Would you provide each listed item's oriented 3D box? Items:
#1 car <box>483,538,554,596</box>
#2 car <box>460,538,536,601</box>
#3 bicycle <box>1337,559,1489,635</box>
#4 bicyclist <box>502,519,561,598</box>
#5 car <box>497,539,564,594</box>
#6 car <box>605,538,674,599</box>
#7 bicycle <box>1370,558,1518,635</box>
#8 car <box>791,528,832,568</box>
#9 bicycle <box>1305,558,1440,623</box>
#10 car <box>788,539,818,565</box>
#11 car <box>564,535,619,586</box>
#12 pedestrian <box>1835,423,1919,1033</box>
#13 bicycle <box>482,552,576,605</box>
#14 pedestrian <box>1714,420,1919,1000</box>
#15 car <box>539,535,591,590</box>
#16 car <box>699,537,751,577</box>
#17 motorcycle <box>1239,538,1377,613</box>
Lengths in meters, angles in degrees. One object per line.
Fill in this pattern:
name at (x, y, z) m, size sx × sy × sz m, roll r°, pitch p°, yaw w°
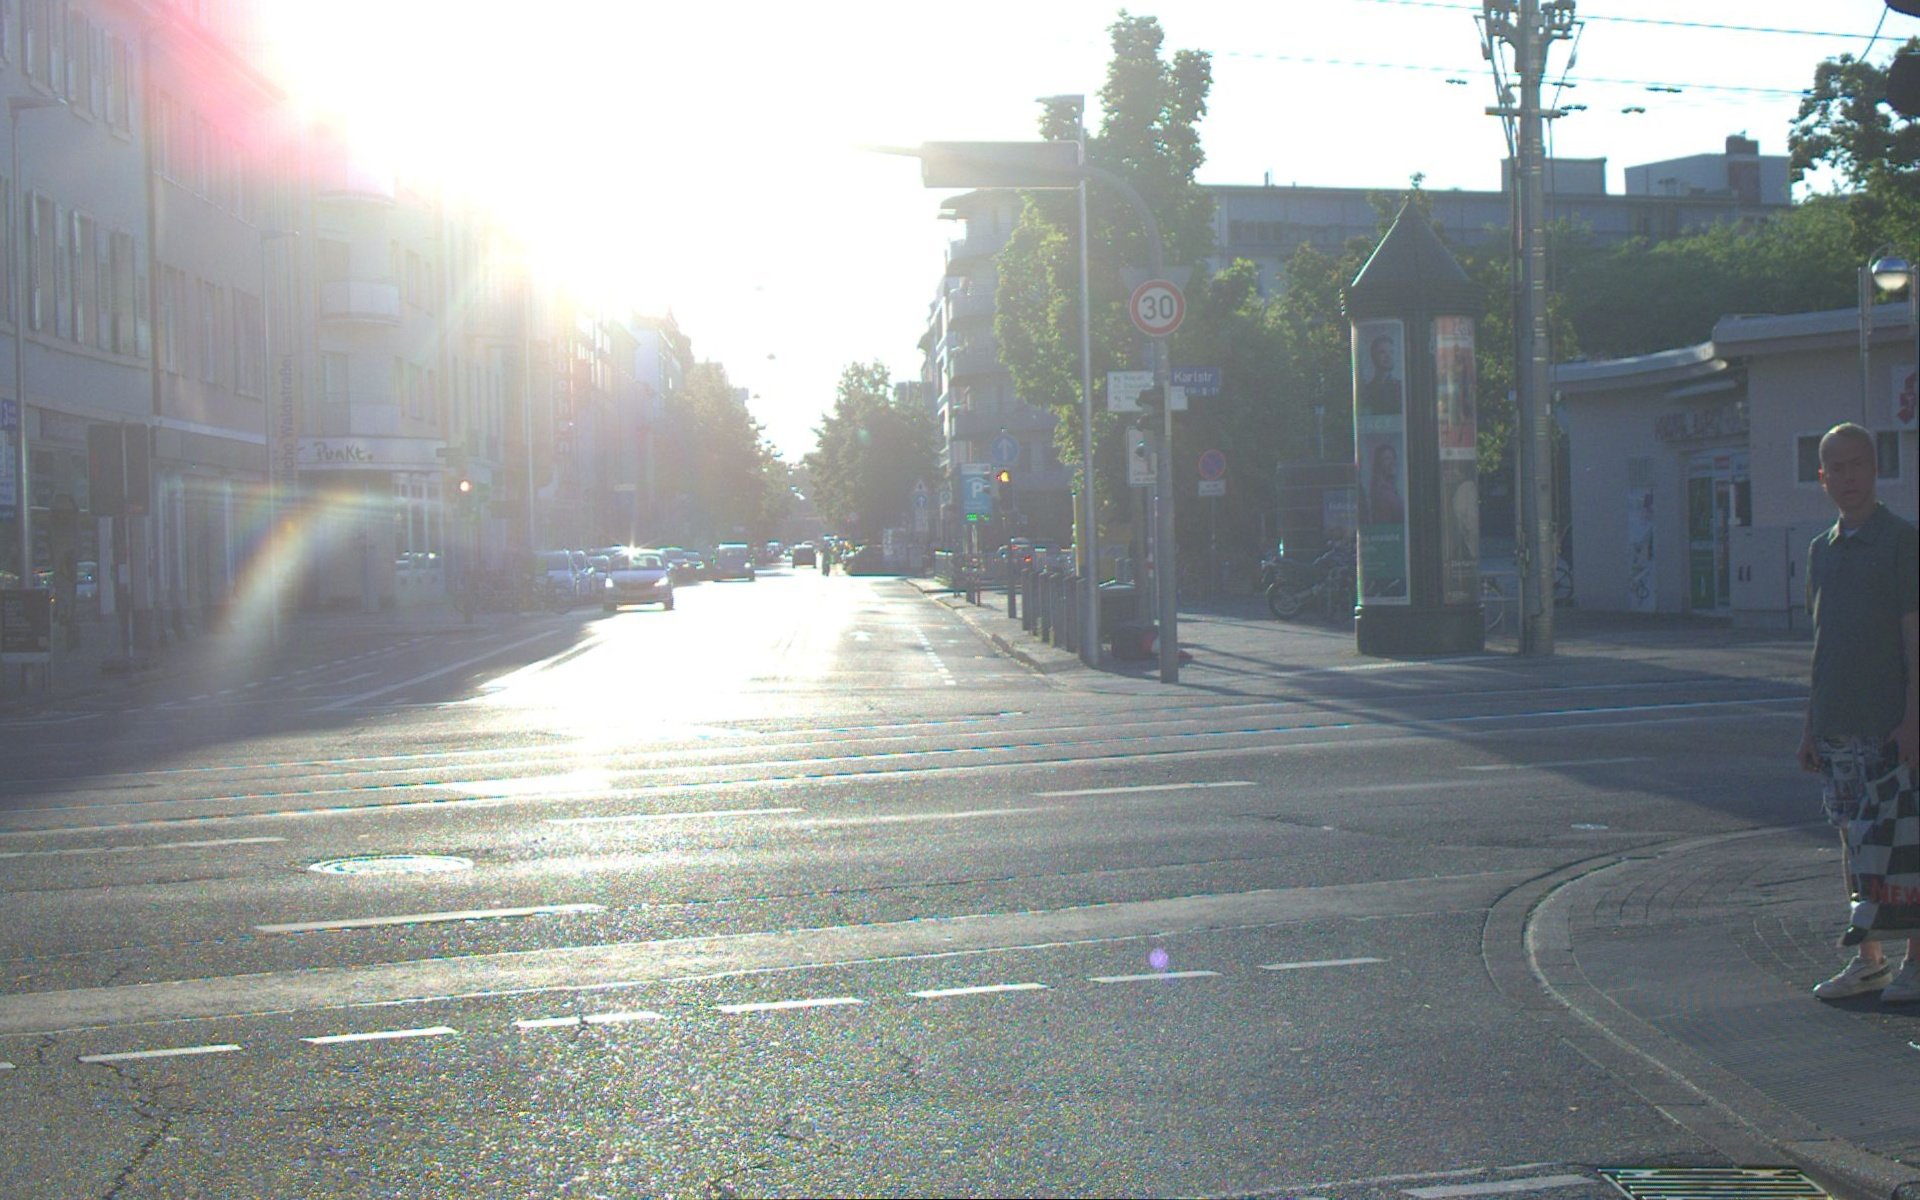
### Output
car at (-11.434, -0.840, 89.212) m, size 1.545 × 1.464 × 3.352 m, roll -1°, pitch 0°, yaw -3°
car at (-11.487, -0.770, 85.566) m, size 1.545 × 1.478 × 3.352 m, roll -2°, pitch 1°, yaw -3°
bicycle at (6.514, -0.043, 49.503) m, size 2.147 × 1.040 × 0.560 m, roll -1°, pitch 0°, yaw 6°
bicyclist at (-9.845, -0.951, 78.997) m, size 1.130 × 1.784 × 0.764 m, roll 1°, pitch 0°, yaw 18°
car at (-11.750, -0.914, 94.184) m, size 1.545 × 1.464 × 3.352 m, roll -1°, pitch 0°, yaw -3°
car at (-7.904, -0.770, 84.985) m, size 1.545 × 1.463 × 3.352 m, roll -1°, pitch 0°, yaw -3°
bicycle at (6.795, -0.054, 48.317) m, size 2.020 × 1.041 × 0.560 m, roll -1°, pitch 0°, yaw 6°
car at (-7.656, -2.652, 177.480) m, size 1.993 × 2.007 × 4.000 m, roll 1°, pitch 0°, yaw -1°
bicycle at (6.484, -0.151, 54.060) m, size 2.078 × 0.979 × 0.560 m, roll -1°, pitch 0°, yaw 6°
car at (-11.224, -3.413, 246.166) m, size 1.993 × 1.809 × 4.000 m, roll 1°, pitch 0°, yaw 0°
car at (-11.433, -1.209, 106.693) m, size 1.482 × 1.554 × 3.259 m, roll -1°, pitch 0°, yaw -3°
pedestrian at (3.073, 0.364, 10.058) m, size 0.637 × 1.767 × 0.750 m, roll -2°, pitch 1°, yaw -23°
bicycle at (-9.908, -0.503, 78.987) m, size 2.119 × 1.200 × 0.500 m, roll 1°, pitch 0°, yaw 18°
pedestrian at (2.895, 0.328, 10.939) m, size 0.585 × 1.767 × 0.749 m, roll -2°, pitch 1°, yaw -33°
car at (-11.589, -1.107, 100.897) m, size 1.307 × 1.577 × 2.889 m, roll -1°, pitch 1°, yaw -3°
car at (-10.324, -1.896, 151.032) m, size 1.993 × 1.678 × 4.000 m, roll -1°, pitch 1°, yaw 0°
motorcycle at (5.781, -0.413, 57.166) m, size 2.235 × 1.197 × 0.720 m, roll -1°, pitch 1°, yaw 4°
